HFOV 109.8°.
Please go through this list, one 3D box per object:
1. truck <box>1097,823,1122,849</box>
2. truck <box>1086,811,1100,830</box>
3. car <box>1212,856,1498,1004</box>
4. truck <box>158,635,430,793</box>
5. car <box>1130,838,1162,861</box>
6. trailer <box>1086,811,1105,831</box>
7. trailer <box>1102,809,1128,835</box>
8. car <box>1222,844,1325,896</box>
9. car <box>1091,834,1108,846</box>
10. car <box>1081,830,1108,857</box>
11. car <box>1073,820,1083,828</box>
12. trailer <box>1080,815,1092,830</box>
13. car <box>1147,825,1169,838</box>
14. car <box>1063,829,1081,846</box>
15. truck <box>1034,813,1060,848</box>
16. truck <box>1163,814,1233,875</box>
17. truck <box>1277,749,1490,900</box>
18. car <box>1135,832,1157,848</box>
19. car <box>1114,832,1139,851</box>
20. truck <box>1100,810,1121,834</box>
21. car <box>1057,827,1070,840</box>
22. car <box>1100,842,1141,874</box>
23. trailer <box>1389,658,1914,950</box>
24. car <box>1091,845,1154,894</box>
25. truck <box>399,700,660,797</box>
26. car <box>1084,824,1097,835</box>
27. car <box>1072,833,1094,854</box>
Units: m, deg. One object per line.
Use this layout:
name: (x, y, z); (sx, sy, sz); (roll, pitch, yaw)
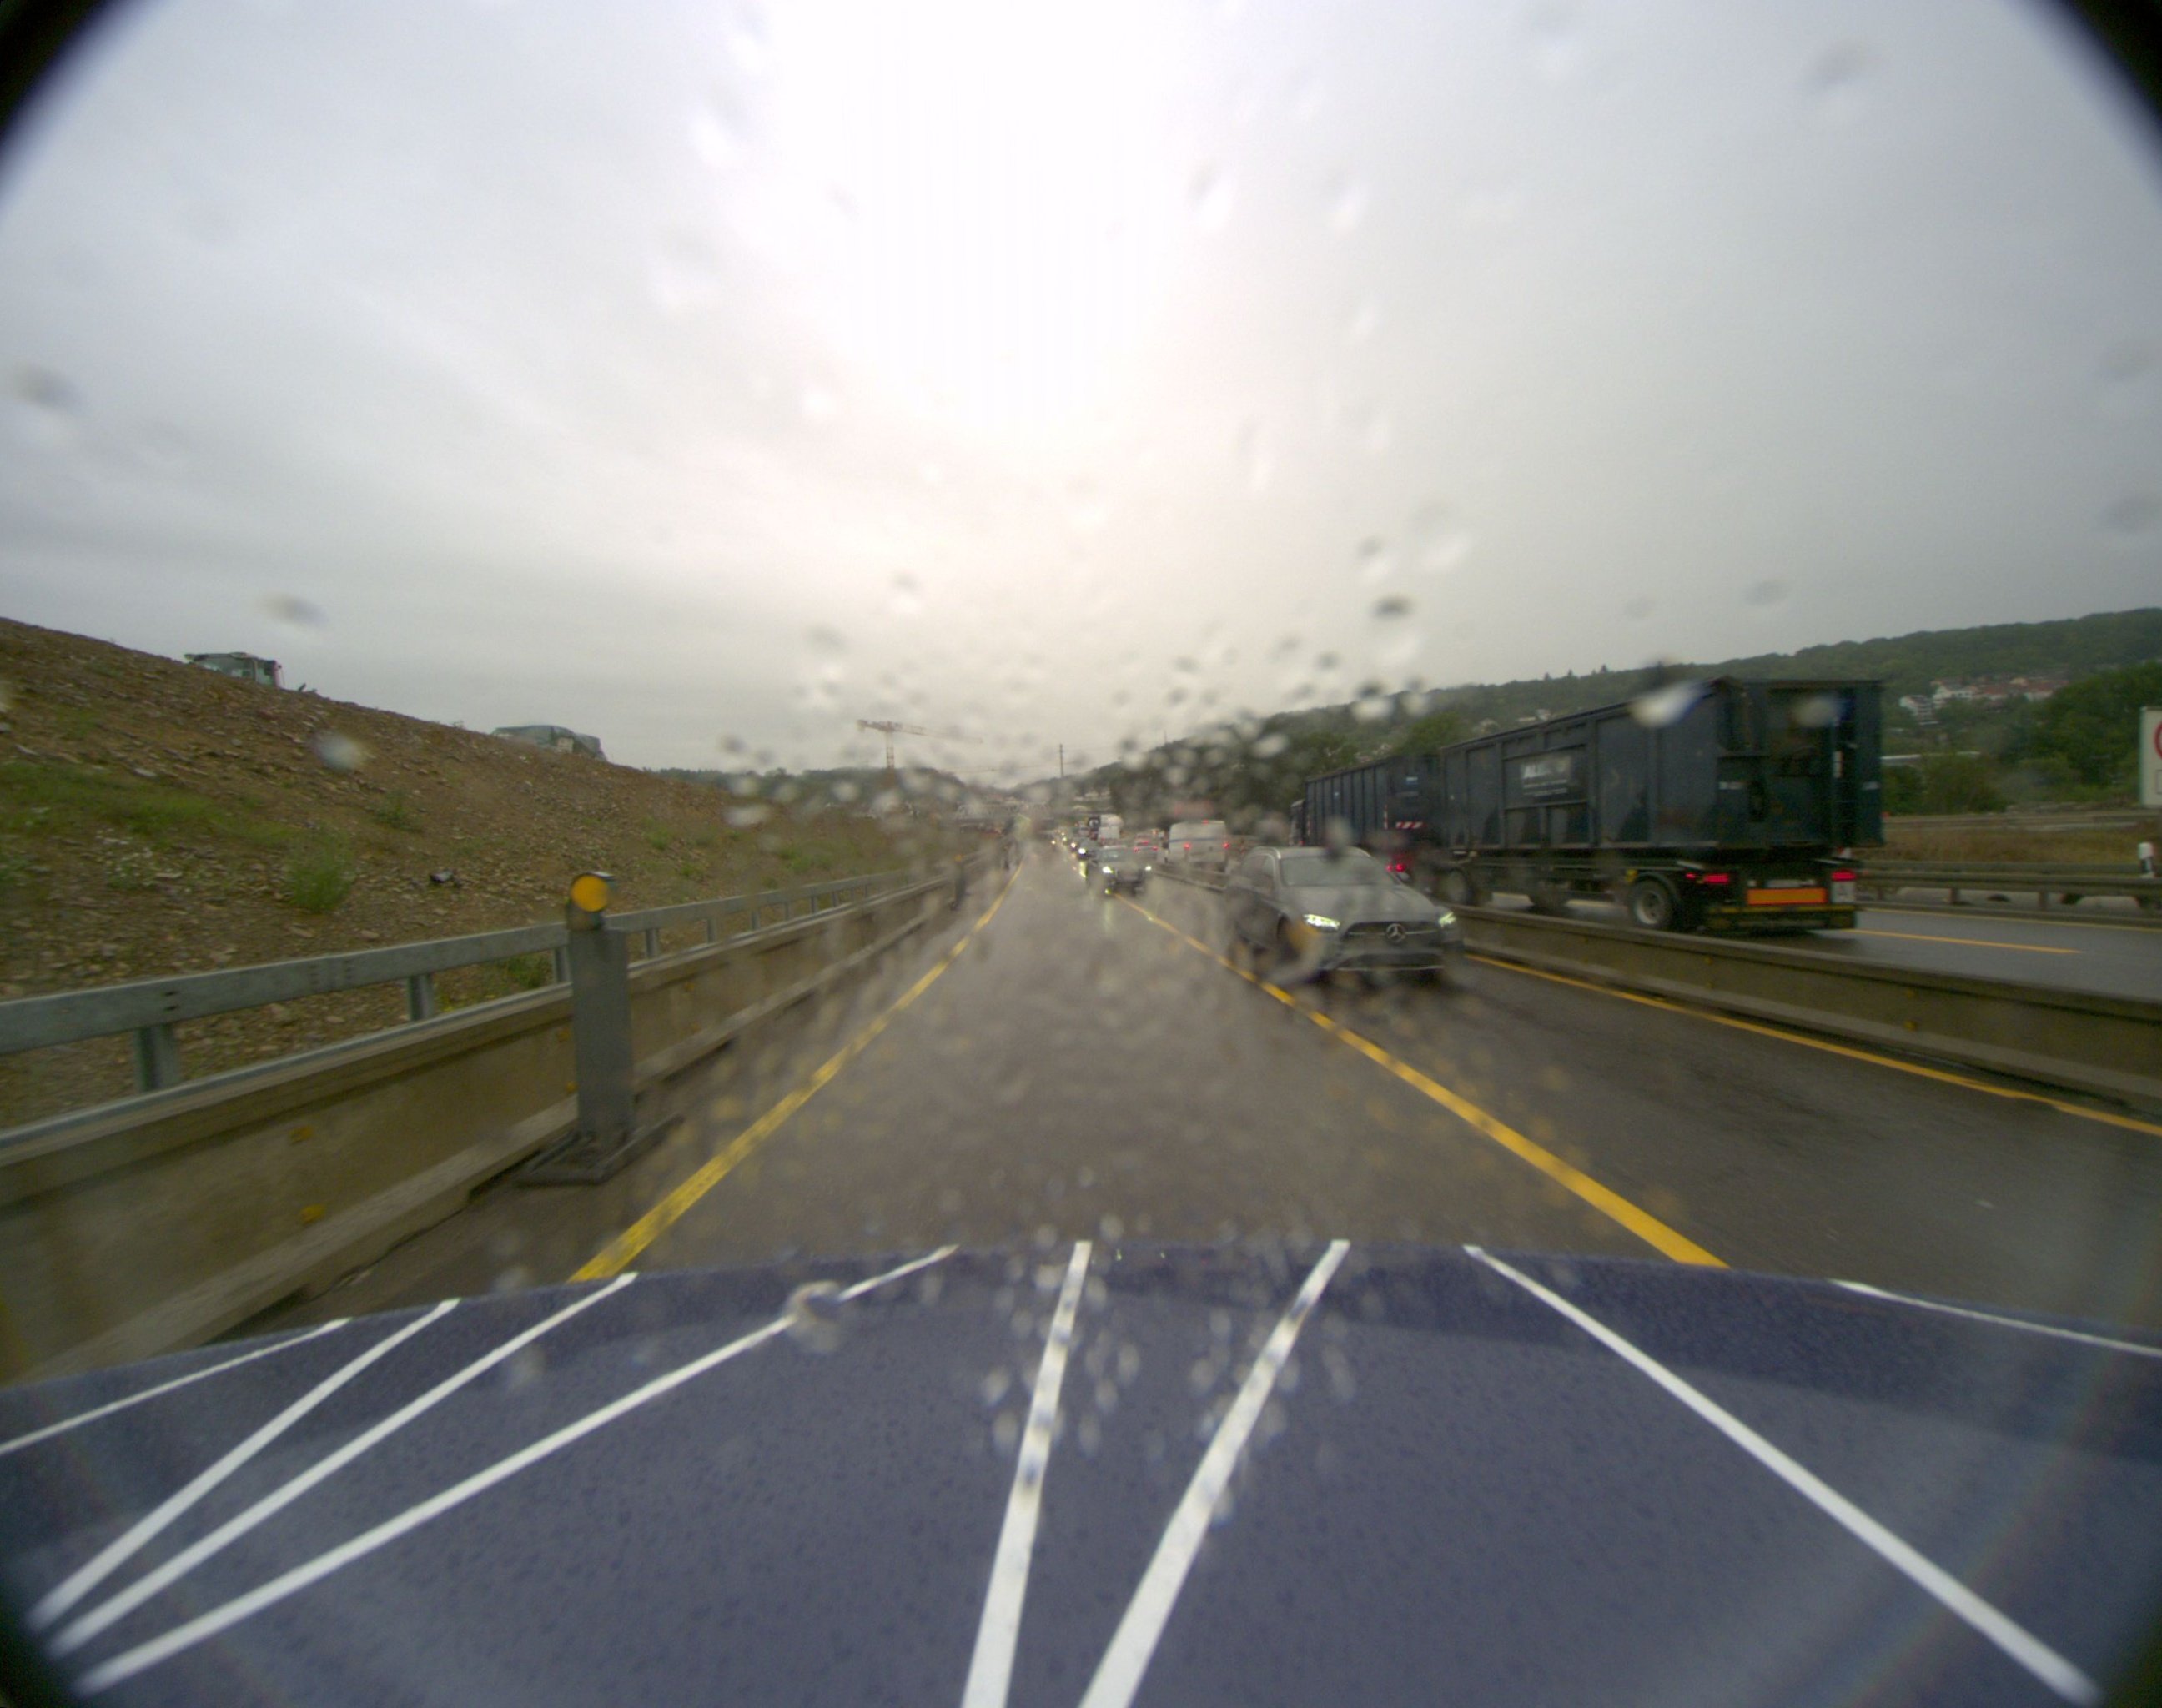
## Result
truck: (2.975, -1.966, 80.451); (2.084, 2.562, 5.956); (-2, 3, -3)
truck: (2.593, -7.359, 167.997); (2.757, 4.040, 6.143); (-2, 3, -3)
car: (3.150, 0.770, 9.890); (1.952, 1.430, 4.482); (-2, 0, -2)
truck: (-24.741, -4.191, 24.431); (2.380, 4.196, 5.974); (-2, 3, -3)
car: (4.711, -0.356, 55.642); (1.681, 1.515, 4.342); (-1, 2, -3)
trailer: (2.959, -6.950, 159.835); (2.757, 4.021, 15.346); (-2, 3, -3)
trailer: (5.061, -4.828, 114.868); (2.628, 3.658, 11.993); (-2, 3, -3)
car: (6.115, 0.427, 24.704); (1.874, 1.463, 4.668); (-2, 1, -4)
car: (2.331, -1.812, 96.979); (1.777, 1.496, 4.675); (-1, 2, -3)
car: (1.072, -0.862, 58.858); (1.998, 2.003, 3.999); (-1, 2, 1)
car: (-0.742, -6.983, 176.000); (1.999, 1.749, 4.684); (-2, 3, -3)
trailer: (1.213, -8.601, 205.806); (2.693, 3.942, 9.811); (0, 3, -3)
car: (11.111, -3.306, 109.717); (1.850, 1.691, 5.038); (-2, 3, -10)
car: (-1.118, -2.095, 96.030); (1.999, 2.002, 4.185); (-2, 1, -3)
truck: (-3.566, -2.531, 80.406); (2.576, 3.452, 6.621); (-2, 3, -2)
truck: (5.618, -0.507, 37.385); (2.153, 2.698, 6.012); (-2, 1, -3)
truck: (9.227, -0.827, 24.730); (2.649, 3.947, 9.208); (-2, 1, -4)
car: (6.817, -1.480, 79.865); (1.793, 1.538, 3.997); (-2, 2, -3)
car: (4.035, -1.140, 67.804); (1.792, 1.530, 4.309); (-1, 2, -3)
truck: (4.680, -5.111, 121.307); (2.628, 3.658, 6.589); (-2, 3, -3)
car: (-2.939, -3.503, 126.744); (1.999, 2.003, 3.996); (-2, 3, -3)
car: (2.089, 0.142, 40.993); (1.782, 1.430, 4.480); (-2, 3, -2)
trailer: (9.839, -0.740, 15.261); (2.754, 3.947, 9.669); (-2, 1, -4)
car: (1.367, 0.514, 26.657); (1.782, 1.514, 4.140); (-2, 0, -2)
truck: (-20.435, -3.772, 29.220); (3.404, 2.859, 8.953); (-2, 3, -1)
car: (1.542, -4.086, 127.312); (1.871, 1.790, 4.159); (-2, 3, -3)
car: (0.151, -1.016, 76.382); (1.999, 2.002, 3.998); (-2, 1, -2)
